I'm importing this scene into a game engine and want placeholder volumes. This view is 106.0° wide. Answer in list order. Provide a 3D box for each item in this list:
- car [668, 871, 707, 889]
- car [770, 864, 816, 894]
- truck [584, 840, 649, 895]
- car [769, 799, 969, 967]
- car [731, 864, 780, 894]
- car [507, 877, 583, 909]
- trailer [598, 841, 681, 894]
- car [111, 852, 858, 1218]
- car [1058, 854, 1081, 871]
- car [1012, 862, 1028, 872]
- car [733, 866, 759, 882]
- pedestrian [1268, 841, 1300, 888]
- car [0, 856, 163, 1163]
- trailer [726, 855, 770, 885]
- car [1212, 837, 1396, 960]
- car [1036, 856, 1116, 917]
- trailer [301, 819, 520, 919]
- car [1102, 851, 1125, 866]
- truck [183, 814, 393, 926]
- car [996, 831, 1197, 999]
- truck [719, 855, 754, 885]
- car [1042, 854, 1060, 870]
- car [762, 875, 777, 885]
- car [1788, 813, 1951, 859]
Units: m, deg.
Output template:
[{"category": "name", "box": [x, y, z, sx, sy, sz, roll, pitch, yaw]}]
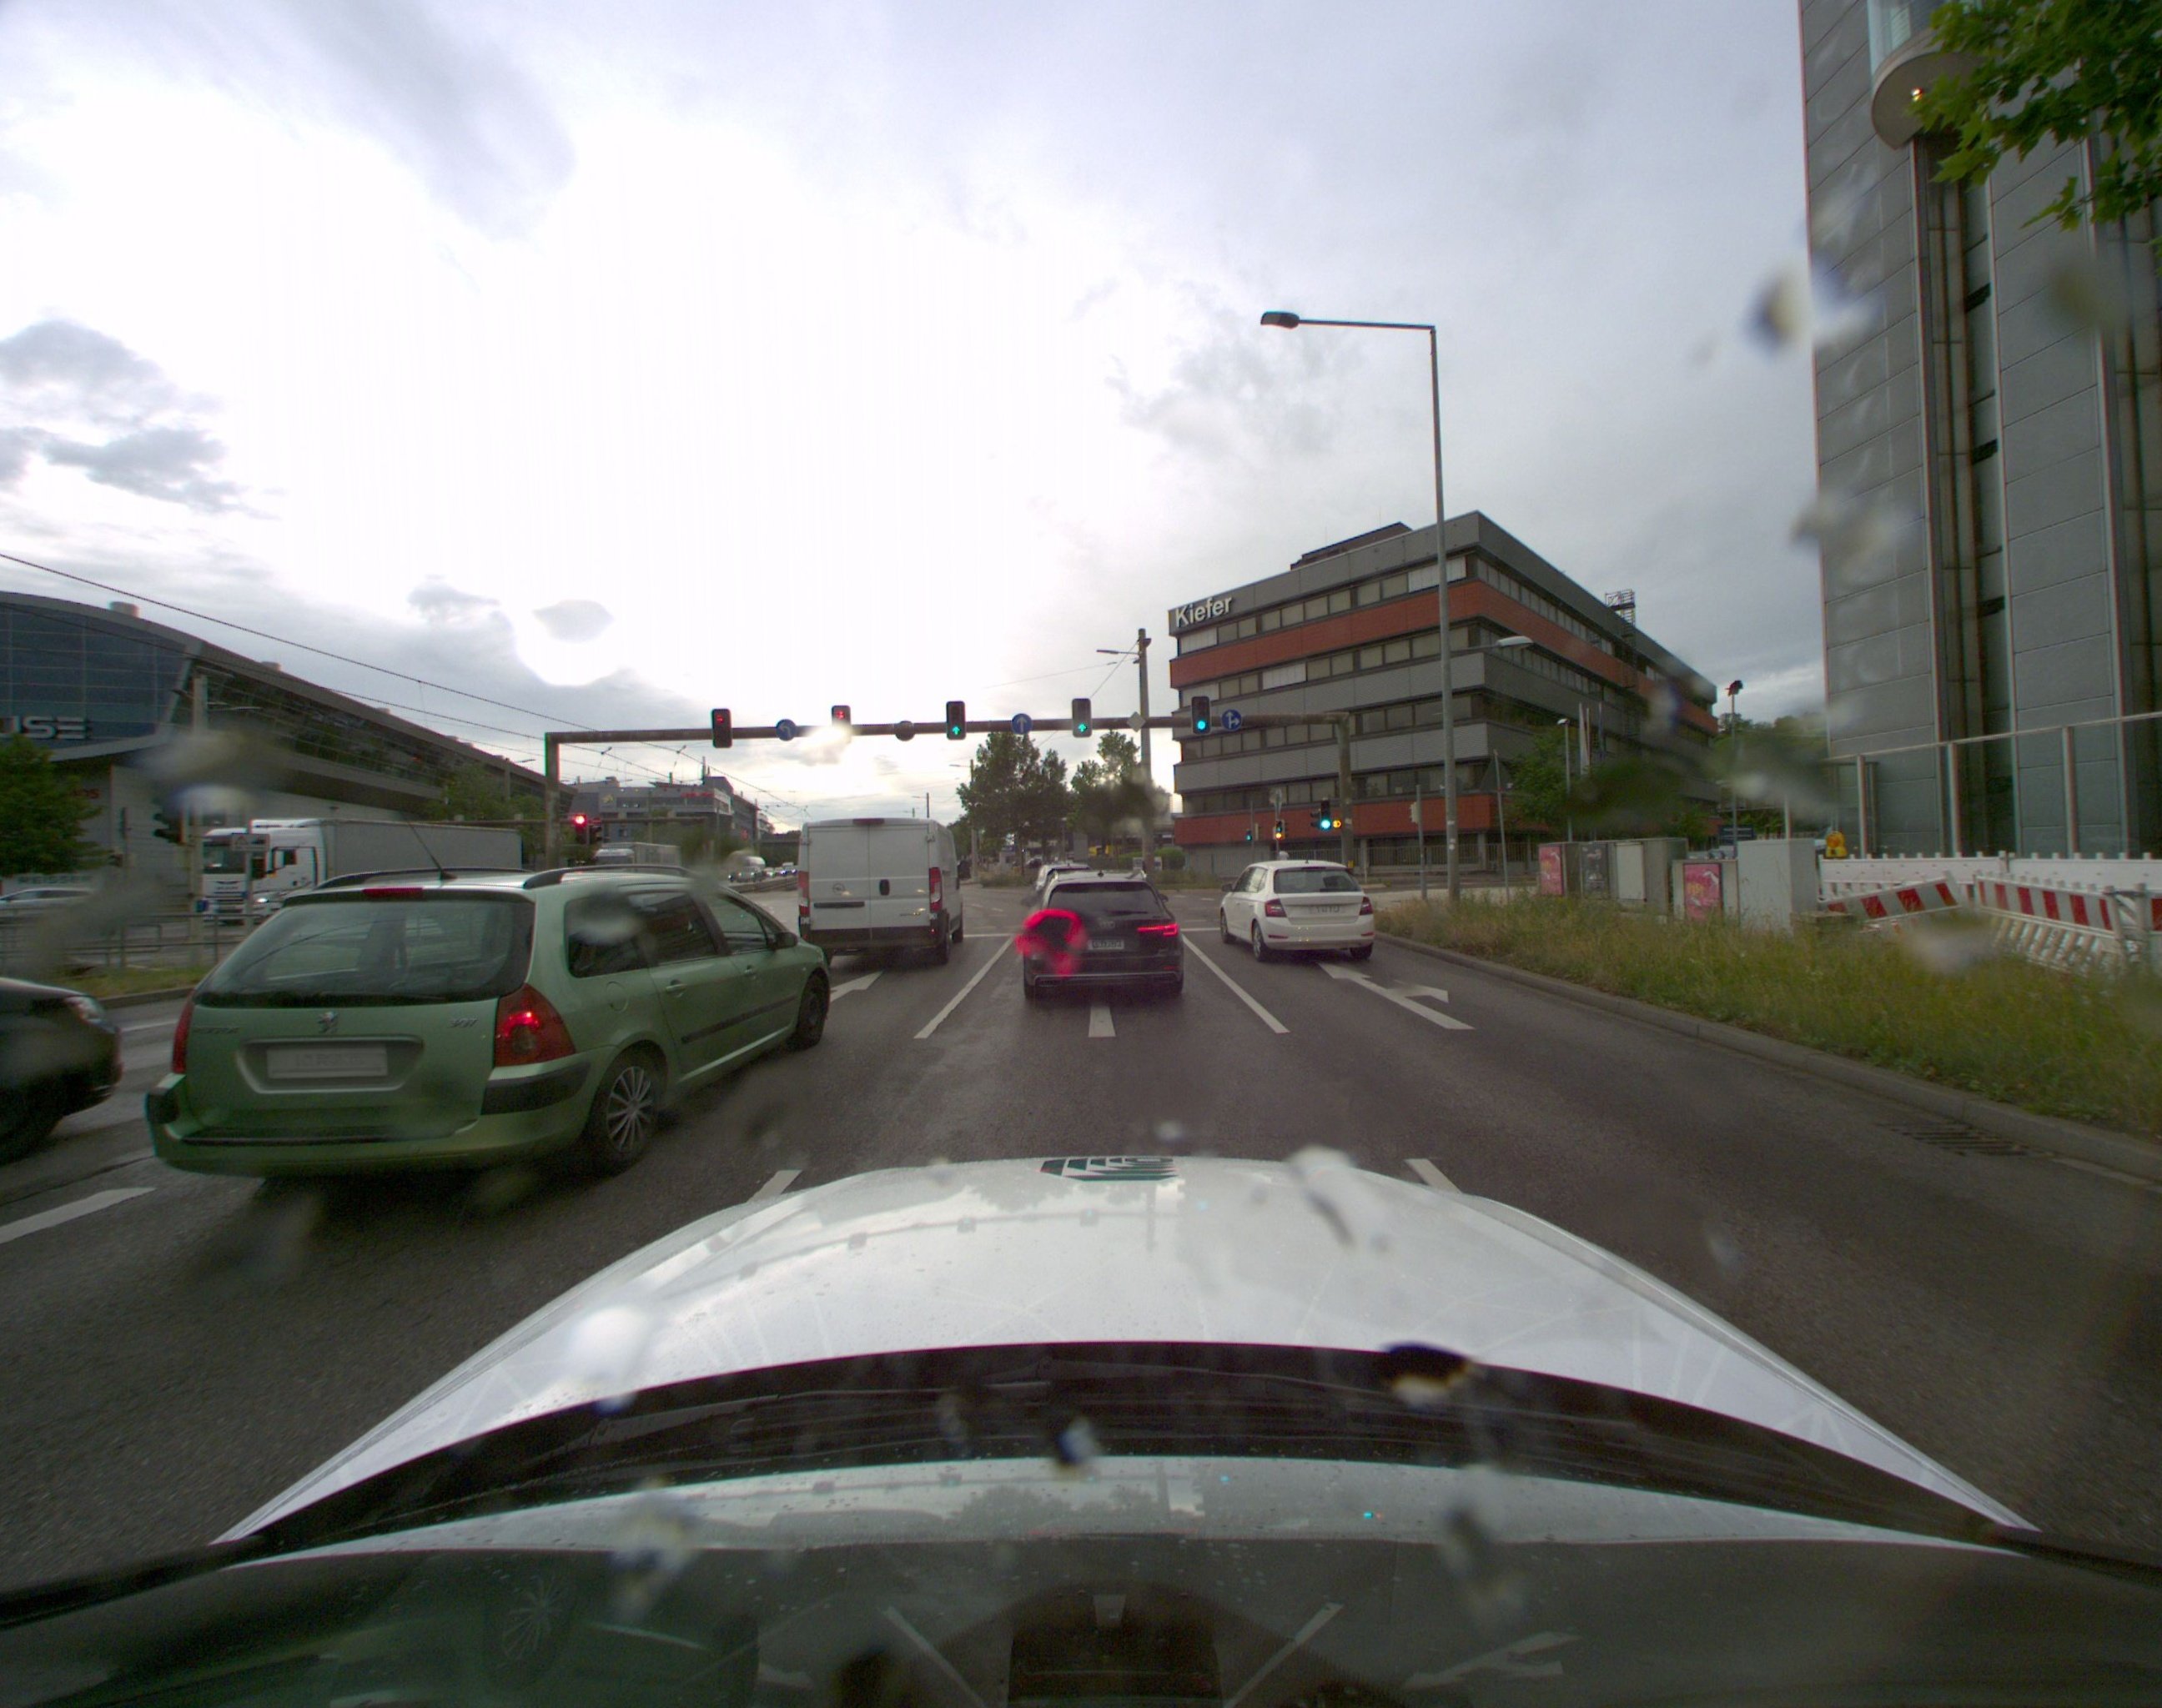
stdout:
[{"category": "car", "box": [-35.134, 2.281, 72.784, 1.903, 1.555, 4.549, 1, -1, -10]}, {"category": "car", "box": [-20.475, 1.757, 58.064, 1.768, 2.014, 4.344, 1, 0, -1]}, {"category": "truck", "box": [-37.309, 1.132, 65.606, 2.668, 4.130, 6.161, -2, -1, -11]}, {"category": "car", "box": [-3.237, 0.464, 13.667, 2.442, 2.294, 4.894, 1, -2, -5]}, {"category": "car", "box": [-22.939, 1.735, 57.548, 1.768, 2.014, 4.345, 1, 0, -1]}, {"category": "car", "box": [-29.201, 2.080, 44.528, 1.887, 1.652, 4.082, 1, -2, -9]}, {"category": "trailer", "box": [-38.462, 1.247, 71.562, 2.651, 4.125, 12.694, -2, -1, -11]}, {"category": "car", "box": [-3.030, 0.787, 5.525, 1.688, 1.468, 4.404, 1, -1, 1]}, {"category": "car", "box": [-1.457, 1.068, 99.300, 1.996, 2.032, 3.982, -2, -1, -13]}, {"category": "car", "box": [-9.828, 2.068, 130.831, 1.795, 1.591, 3.978, -2, -1, -16]}, {"category": "car", "box": [-40.806, 2.430, 99.329, 1.995, 1.837, 4.889, 1, 0, -11]}, {"category": "pedestrian", "box": [9.505, 0.478, 38.247, 1.139, 2.125, 1.223, -2, 1, 1]}, {"category": "car", "box": [-6.531, 0.776, 2.851, 1.719, 1.592, 4.195, 0, -1, 3]}, {"category": "trailer", "box": [-46.375, 2.246, 113.878, 2.722, 3.855, 11.199, -3, -1, -7]}, {"category": "car", "box": [3.380, 0.660, 13.165, 1.823, 1.656, 3.998, -1, -2, -1]}, {"category": "car", "box": [-0.238, 0.844, 22.108, 1.890, 1.465, 3.902, -1, -1, -4]}, {"category": "trailer", "box": [-32.276, 0.668, 40.176, 2.794, 4.107, 11.407, -2, 0, -9]}, {"category": "car", "box": [4.405, 0.654, 111.420, 1.876, 2.014, 3.749, 1, -2, -19]}, {"category": "truck", "box": [-31.224, 0.589, 32.484, 2.829, 3.996, 5.973, -2, 0, -6]}, {"category": "car", "box": [0.224, 0.669, 10.250, 1.986, 1.637, 4.001, -2, -2, 2]}, {"category": "truck", "box": [-45.645, 2.137, 108.048, 2.744, 3.805, 5.397, -3, -1, -7]}, {"category": "car", "box": [-3.953, 1.076, 108.243, 1.681, 2.014, 3.524, 1, -2, -14]}, {"category": "car", "box": [-49.531, 4.117, 129.472, 2.166, 1.505, 4.272, -2, -1, -20]}, {"category": "car", "box": [35.892, -0.765, 37.216, 5.033, 1.916, 2.006, -1, -2, 11]}]
